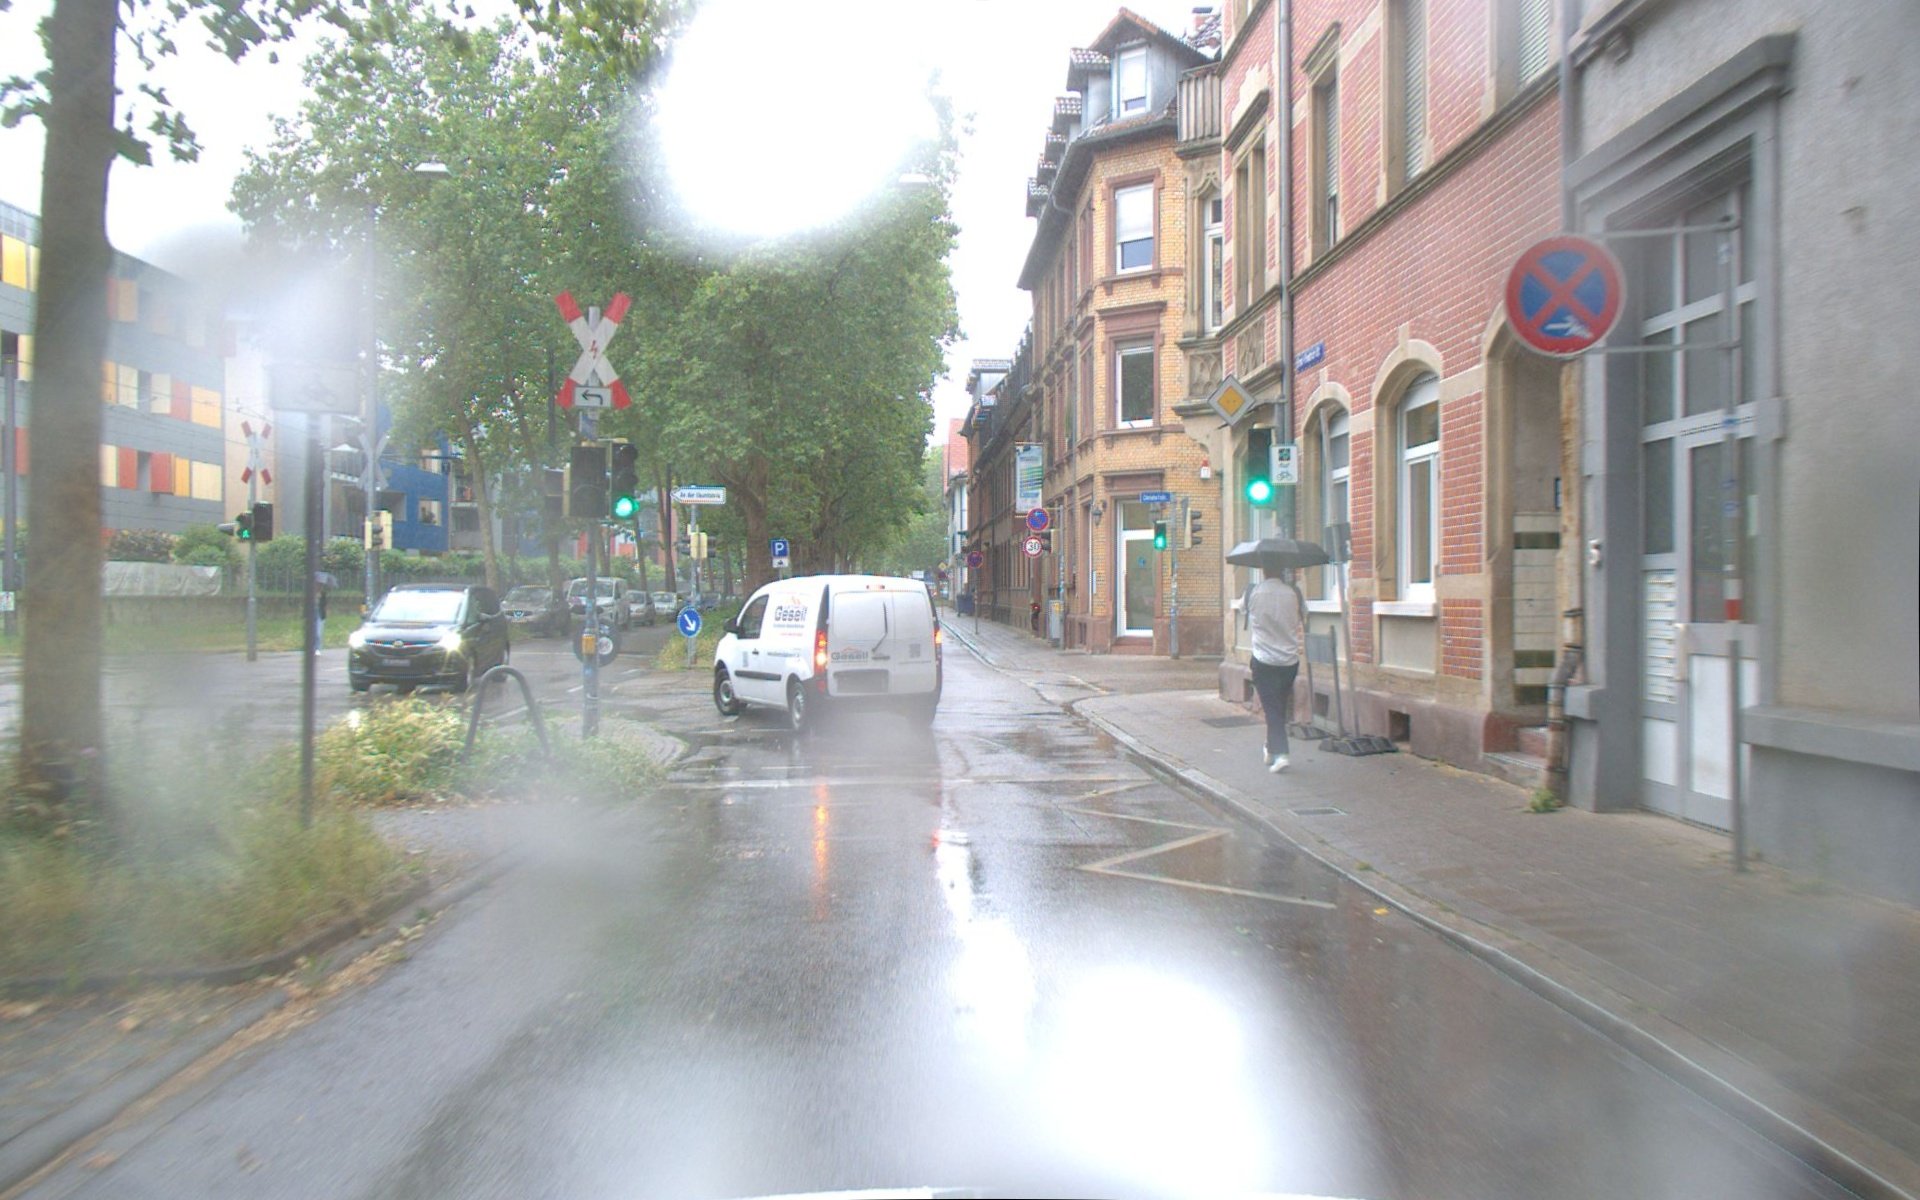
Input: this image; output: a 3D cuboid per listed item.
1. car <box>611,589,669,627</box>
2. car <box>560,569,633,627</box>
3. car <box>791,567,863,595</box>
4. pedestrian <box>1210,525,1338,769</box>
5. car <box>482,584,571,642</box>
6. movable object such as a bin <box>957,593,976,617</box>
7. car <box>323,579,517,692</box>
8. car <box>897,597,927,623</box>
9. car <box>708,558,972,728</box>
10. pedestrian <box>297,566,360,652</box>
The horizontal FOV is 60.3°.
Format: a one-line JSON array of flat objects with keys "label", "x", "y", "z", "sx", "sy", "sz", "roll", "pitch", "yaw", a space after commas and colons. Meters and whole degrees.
[{"label": "car", "x": -13.728, "y": 0.335, "z": 71.112, "sx": 1.866, "sy": 1.561, "sz": 4.213, "roll": 0, "pitch": 0, "yaw": -3}, {"label": "car", "x": -13.821, "y": -0.082, "z": 63.237, "sx": 2.014, "sy": 2.032, "sz": 5.428, "roll": 2, "pitch": 0, "yaw": -6}, {"label": "car", "x": -10.032, "y": -1.406, "z": 124.658, "sx": 5.018, "sy": 2.012, "sz": 2.099, "roll": -1, "pitch": 0, "yaw": 29}, {"label": "pedestrian", "x": 2.636, "y": 0.382, "z": 13.969, "sx": 0.769, "sy": 1.947, "sz": 0.929, "roll": -3, "pitch": 0, "yaw": -2}, {"label": "car", "x": -13.667, "y": 0.402, "z": 52.381, "sx": 1.836, "sy": 1.758, "sz": 3.999, "roll": 1, "pitch": 0, "yaw": -2}, {"label": "movable object such as a bin", "x": 0.395, "y": 0.300, "z": 100.248, "sx": 1.001, "sy": 1.324, "sz": 1.366, "roll": -3, "pitch": 1, "yaw": -2}, {"label": "car", "x": -8.528, "y": 0.504, "z": 26.556, "sx": 2.016, "sy": 1.647, "sz": 4.667, "roll": 0, "pitch": 0, "yaw": -6}, {"label": "car", "x": -3.173, "y": 0.647, "z": 108.920, "sx": 1.953, "sy": 1.668, "sz": 3.998, "roll": 1, "pitch": 0, "yaw": -2}, {"label": "car", "x": -1.601, "y": 0.466, "z": 20.541, "sx": 1.909, "sy": 1.882, "sz": 4.032, "roll": 0, "pitch": 0, "yaw": -26}, {"label": "pedestrian", "x": -13.675, "y": 0.200, "z": 35.859, "sx": 0.917, "sy": 1.831, "sz": 1.205, "roll": 0, "pitch": -1, "yaw": -3}]
